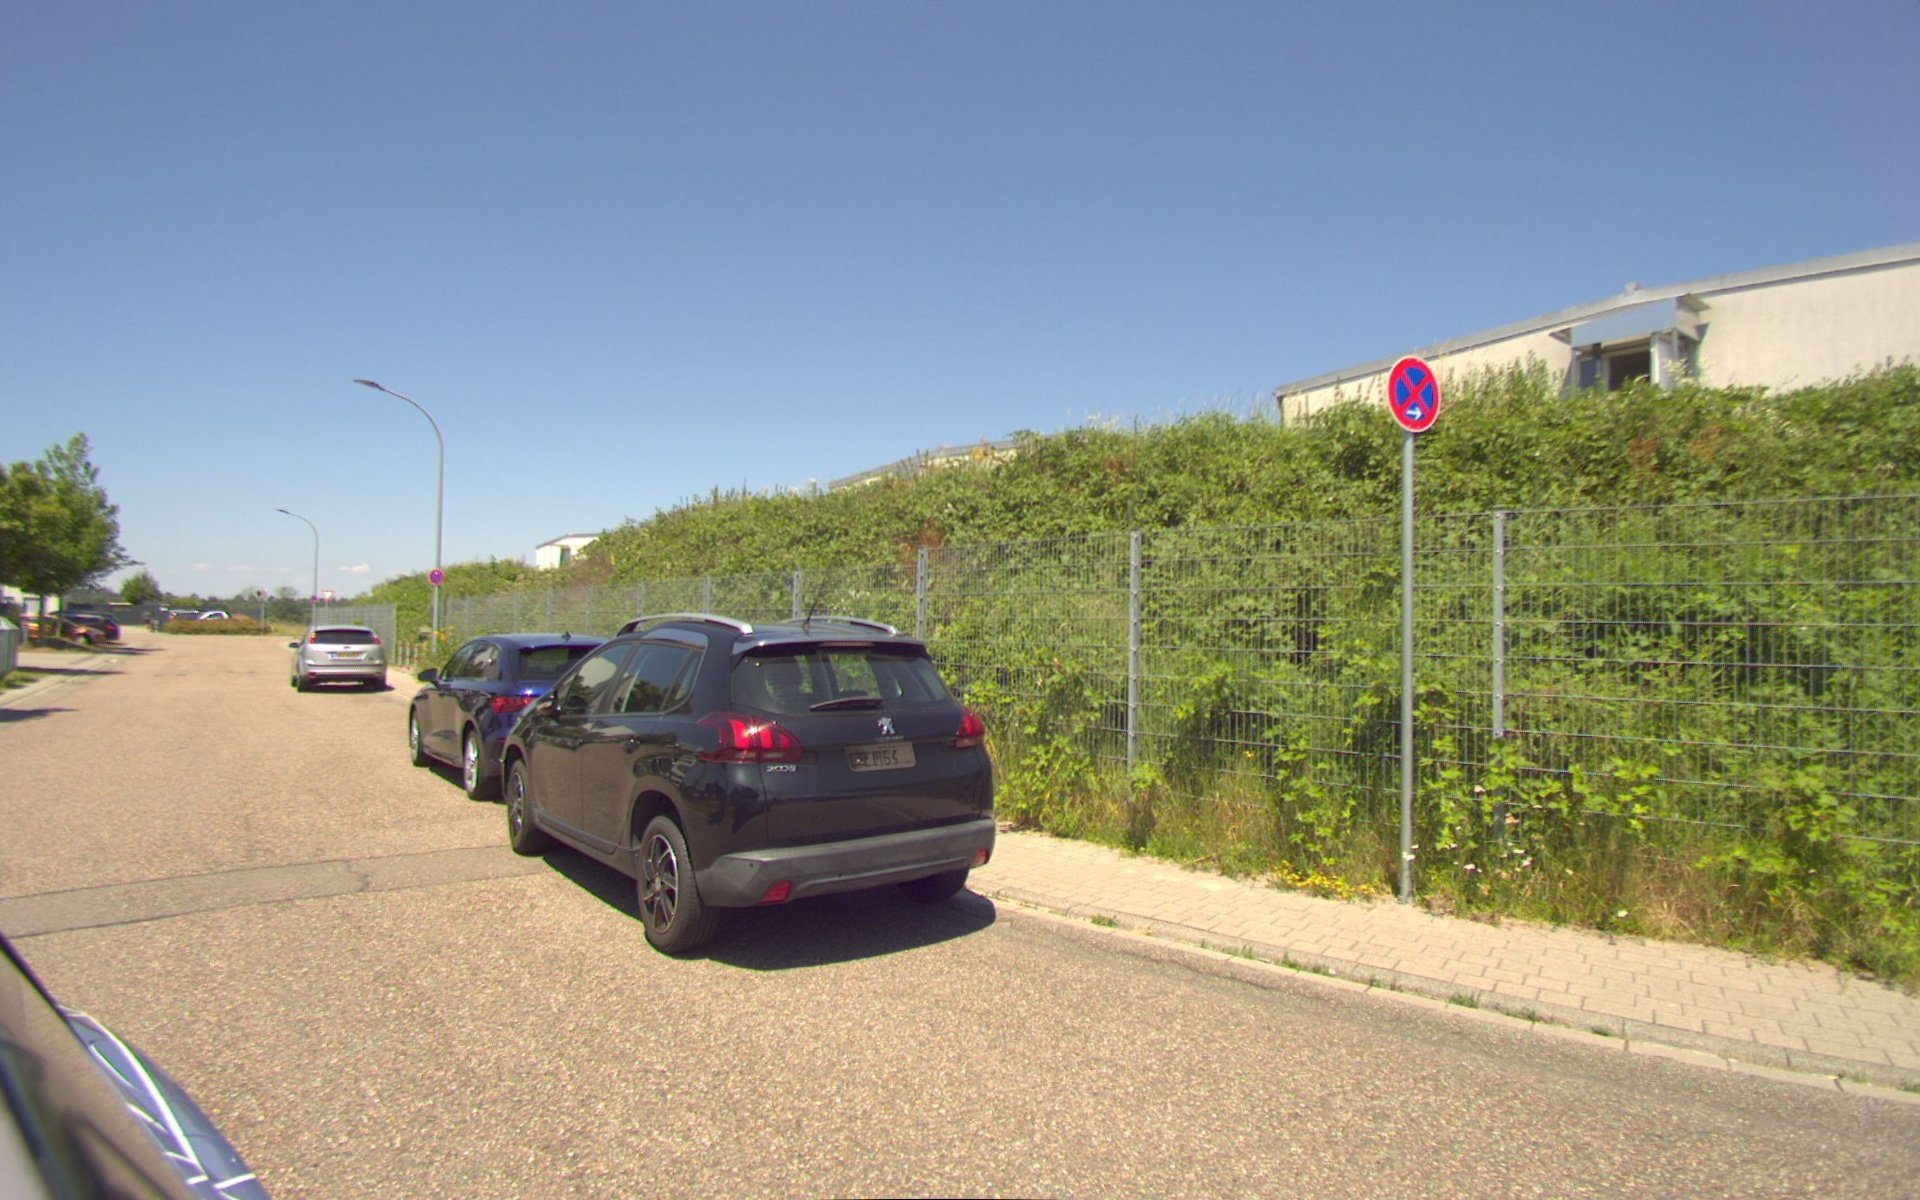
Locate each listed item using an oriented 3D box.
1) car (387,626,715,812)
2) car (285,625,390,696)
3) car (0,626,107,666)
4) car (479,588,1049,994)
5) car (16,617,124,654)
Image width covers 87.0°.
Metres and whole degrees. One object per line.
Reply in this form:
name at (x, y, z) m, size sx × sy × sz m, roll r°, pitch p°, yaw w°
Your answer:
car at (-4.316, 1.025, 10.267) m, size 1.910 × 1.466 × 4.290 m, roll 3°, pitch -3°, yaw -38°
car at (-14.750, 1.386, 23.879) m, size 1.824 × 1.531 × 3.957 m, roll 3°, pitch -3°, yaw -35°
car at (-42.873, 2.128, 47.748) m, size 3.936 × 1.716 × 1.894 m, roll -1°, pitch 0°, yaw -38°
car at (-1.487, 0.818, 6.076) m, size 1.632 × 1.567 × 4.141 m, roll 3°, pitch -3°, yaw -38°
car at (-44.135, 1.736, 50.310) m, size 3.936 × 1.652 × 1.894 m, roll -1°, pitch 0°, yaw -38°
